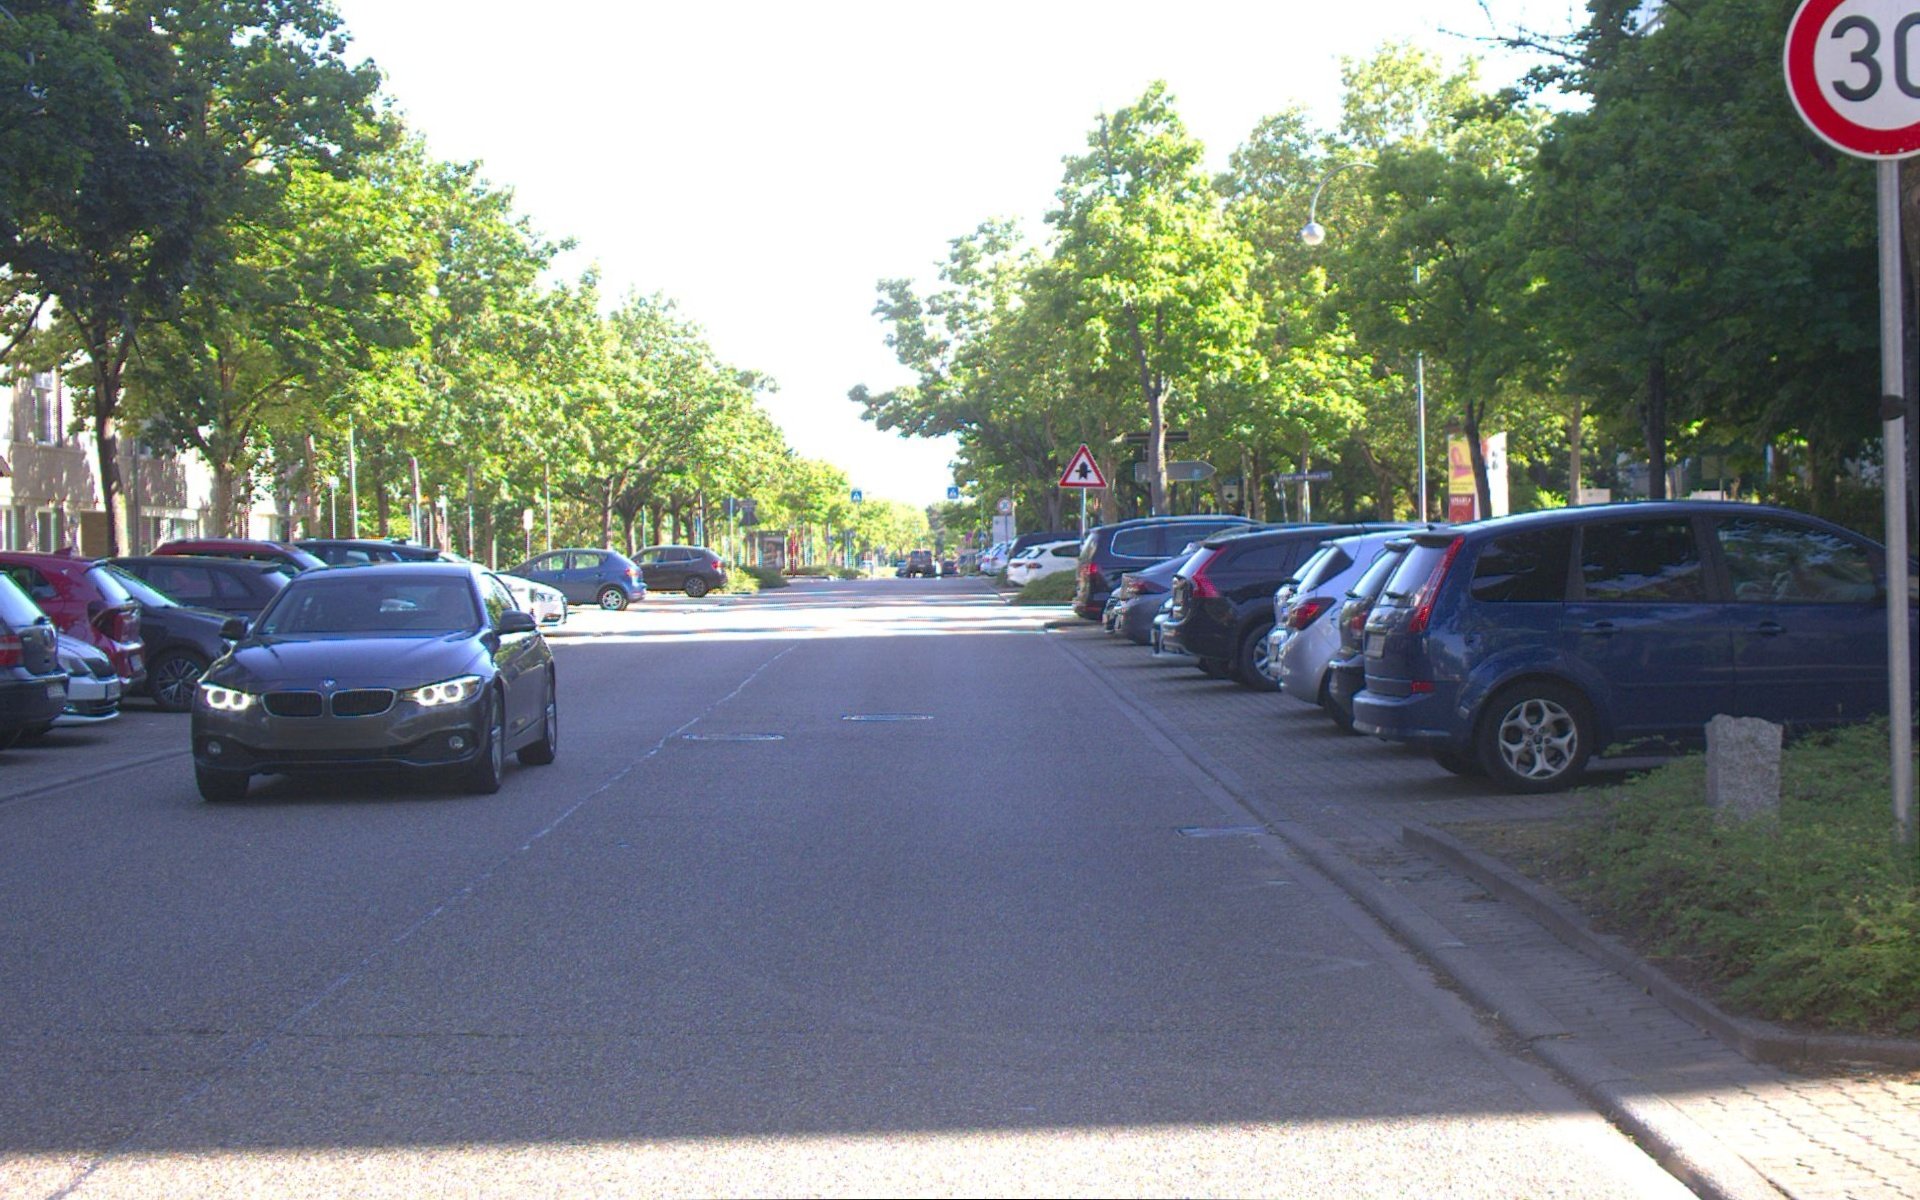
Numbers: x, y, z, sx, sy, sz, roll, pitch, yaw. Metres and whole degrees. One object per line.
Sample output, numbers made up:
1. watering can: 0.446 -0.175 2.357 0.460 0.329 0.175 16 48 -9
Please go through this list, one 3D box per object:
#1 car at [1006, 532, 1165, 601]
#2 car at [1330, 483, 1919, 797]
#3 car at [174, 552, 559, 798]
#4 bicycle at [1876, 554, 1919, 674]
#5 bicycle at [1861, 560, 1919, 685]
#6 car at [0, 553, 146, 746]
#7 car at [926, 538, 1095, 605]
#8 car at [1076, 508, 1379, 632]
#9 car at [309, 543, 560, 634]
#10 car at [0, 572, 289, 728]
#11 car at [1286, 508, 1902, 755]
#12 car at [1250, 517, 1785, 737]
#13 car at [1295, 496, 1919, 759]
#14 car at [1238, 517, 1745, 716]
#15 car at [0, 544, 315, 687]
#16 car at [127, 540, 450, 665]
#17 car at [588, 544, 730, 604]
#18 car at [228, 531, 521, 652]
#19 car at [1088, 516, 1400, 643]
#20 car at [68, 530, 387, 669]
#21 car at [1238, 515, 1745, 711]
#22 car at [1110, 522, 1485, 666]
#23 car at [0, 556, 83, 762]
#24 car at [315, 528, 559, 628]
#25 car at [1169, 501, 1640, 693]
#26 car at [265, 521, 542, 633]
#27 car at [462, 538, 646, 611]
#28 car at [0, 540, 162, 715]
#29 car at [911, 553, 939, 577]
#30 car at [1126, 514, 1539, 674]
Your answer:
1. car: 3.322 -0.883 91.539 3.986 1.786 2.000 -1 0 -5
2. car: 4.403 0.189 19.679 4.267 1.628 1.858 -2 0 -3
3. car: -3.664 0.406 21.899 1.813 1.410 4.108 0 1 -1
4. bicycle: 8.767 0.121 30.666 0.379 1.074 1.788 -1 1 -12
5. bicycle: 8.584 0.191 29.383 0.379 1.074 1.786 -1 1 -42
6. car: -8.650 0.361 27.591 3.865 1.452 1.755 1 2 -3
7. car: 1.240 -0.708 85.239 3.986 1.619 2.000 -1 0 -5
8. car: 3.670 -0.417 47.570 3.892 1.650 1.858 -1 0 -5
9. car: -8.801 -0.200 57.793 3.986 1.476 1.680 -1 0 -2
10. car: -8.508 0.451 32.592 3.986 1.408 1.666 1 0 -2
11. car: 4.156 0.195 23.019 3.740 1.462 1.910 -2 0 1
12. car: 4.106 0.190 25.669 3.635 1.462 1.633 -2 0 -3
13. car: 4.333 0.160 23.204 3.882 1.521 1.895 -3 1 0
14. car: 4.300 0.126 28.211 3.752 1.444 1.880 -2 0 -3
15. car: -8.770 0.147 35.477 3.986 1.401 1.606 1 0 -5
16. car: -9.127 0.043 46.888 3.987 1.581 1.765 -1 -1 3
17. car: -8.885 -0.774 101.808 3.987 1.678 2.000 -1 0 0
18. car: -8.479 -0.129 49.976 3.986 1.714 1.709 0 1 -1
19. car: 3.883 -0.280 47.430 4.043 1.576 1.641 -2 0 -3
20. car: -9.038 -0.006 42.610 3.541 1.651 1.761 -1 0 1
21. car: 4.346 0.095 28.576 3.866 1.463 1.967 -2 0 0
22. car: 3.829 -0.073 39.402 4.043 1.486 1.550 -2 0 -3
23. car: -8.458 0.382 24.936 3.762 1.440 1.631 1 0 0
24. car: -8.646 -0.367 57.097 3.892 1.606 1.858 -1 0 -5
25. car: 4.174 -0.034 32.779 4.249 1.549 1.919 -3 0 4
26. car: -8.737 -0.367 54.189 3.987 1.648 1.860 -1 1 2
27. car: -9.057 -0.588 76.904 3.986 1.527 1.618 -1 1 -4
28. car: -8.814 0.209 29.932 3.418 1.458 1.697 1 1 -5
29. car: -2.434 -2.445 238.524 1.933 1.592 4.366 -1 1 -1
30. car: 3.884 -0.080 36.145 4.043 1.585 1.550 -1 1 -7
